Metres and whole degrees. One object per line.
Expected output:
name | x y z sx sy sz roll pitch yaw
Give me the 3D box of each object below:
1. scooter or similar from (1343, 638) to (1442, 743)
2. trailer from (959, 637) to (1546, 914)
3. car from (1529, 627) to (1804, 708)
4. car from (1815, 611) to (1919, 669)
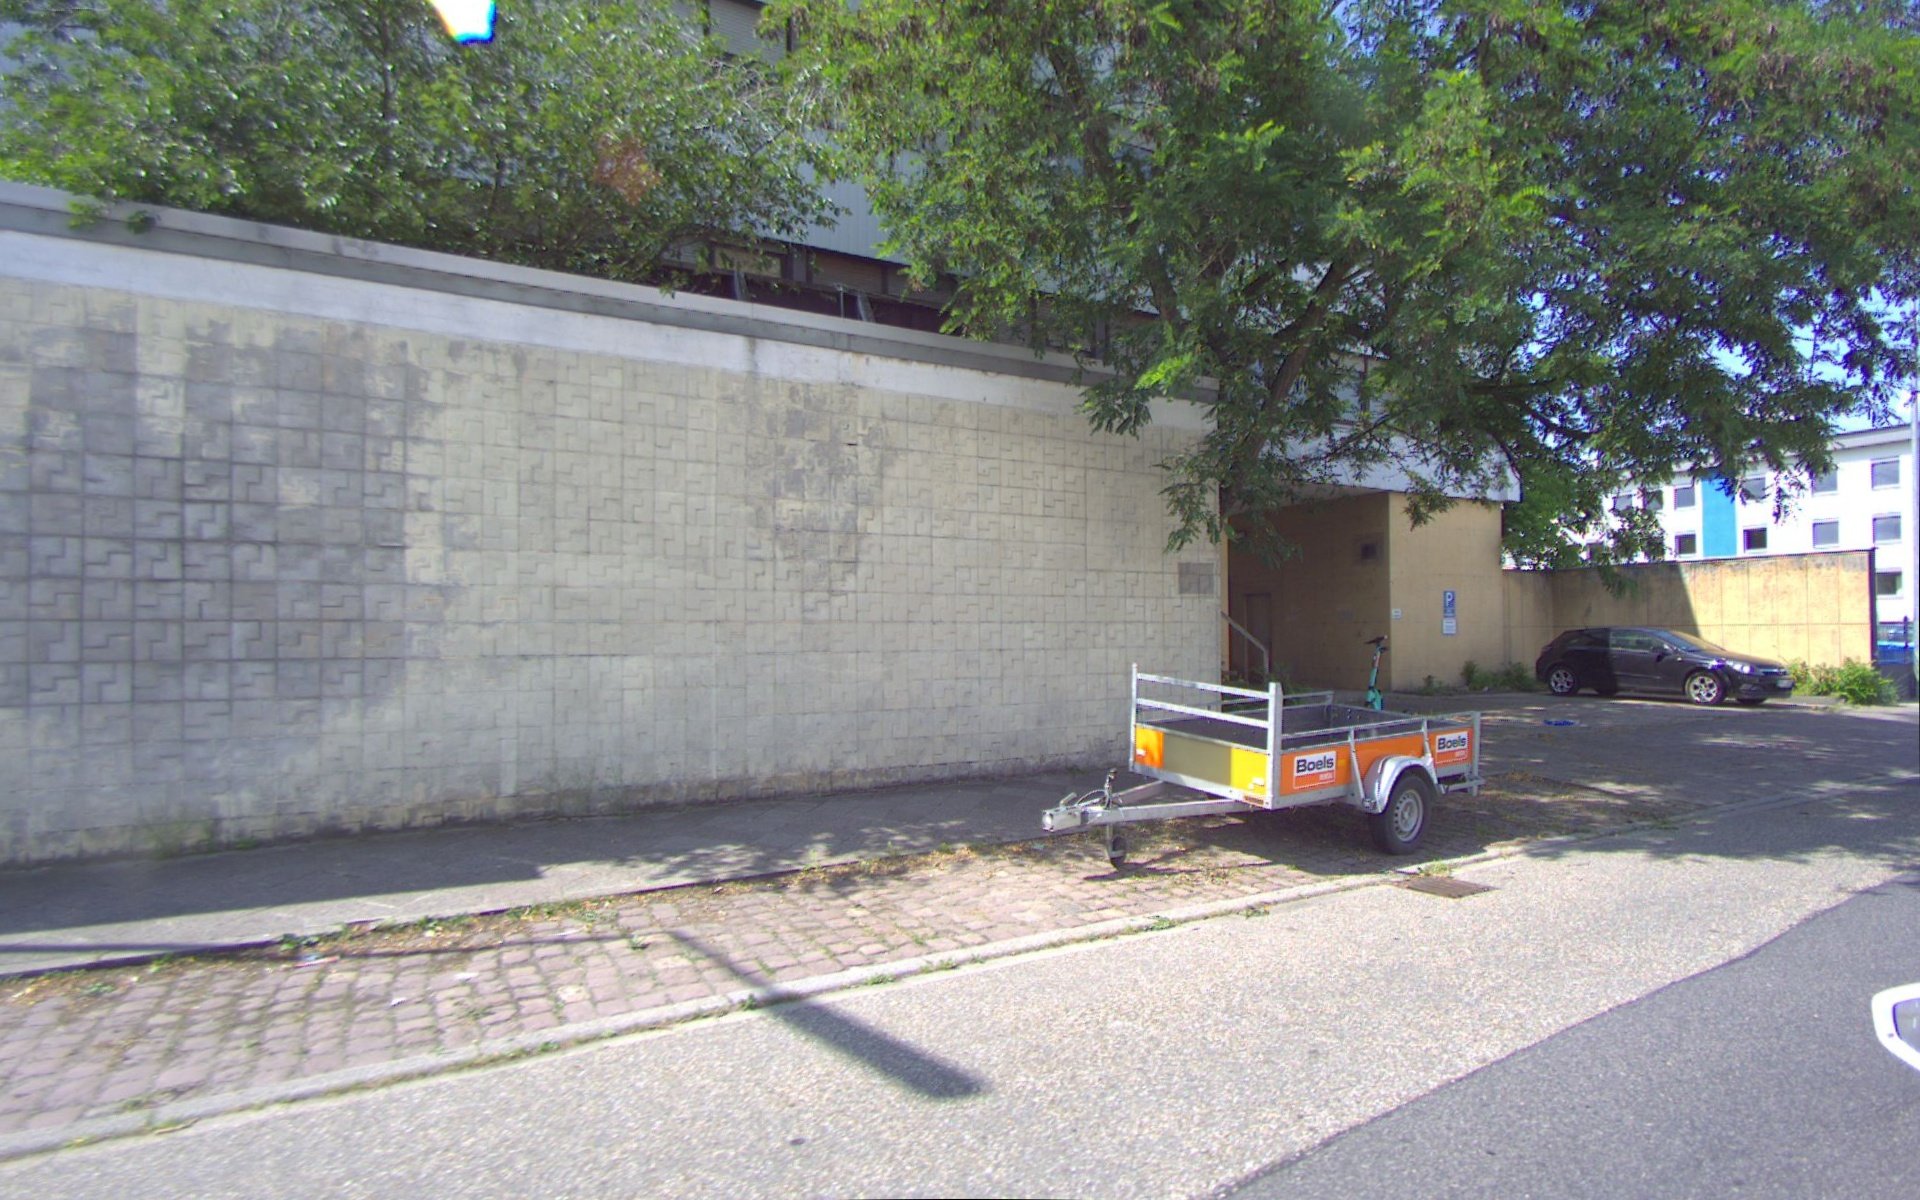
scooter or similar | 5.713 1.167 13.264 1.344 1.296 0.480 1 1 -30
trailer | 2.278 1.061 7.517 4.285 1.458 1.758 1 0 -30
car | 13.402 1.232 19.325 1.771 1.380 3.980 1 -2 -26
car | 29.039 1.219 30.970 1.857 1.730 3.631 1 -2 -30
